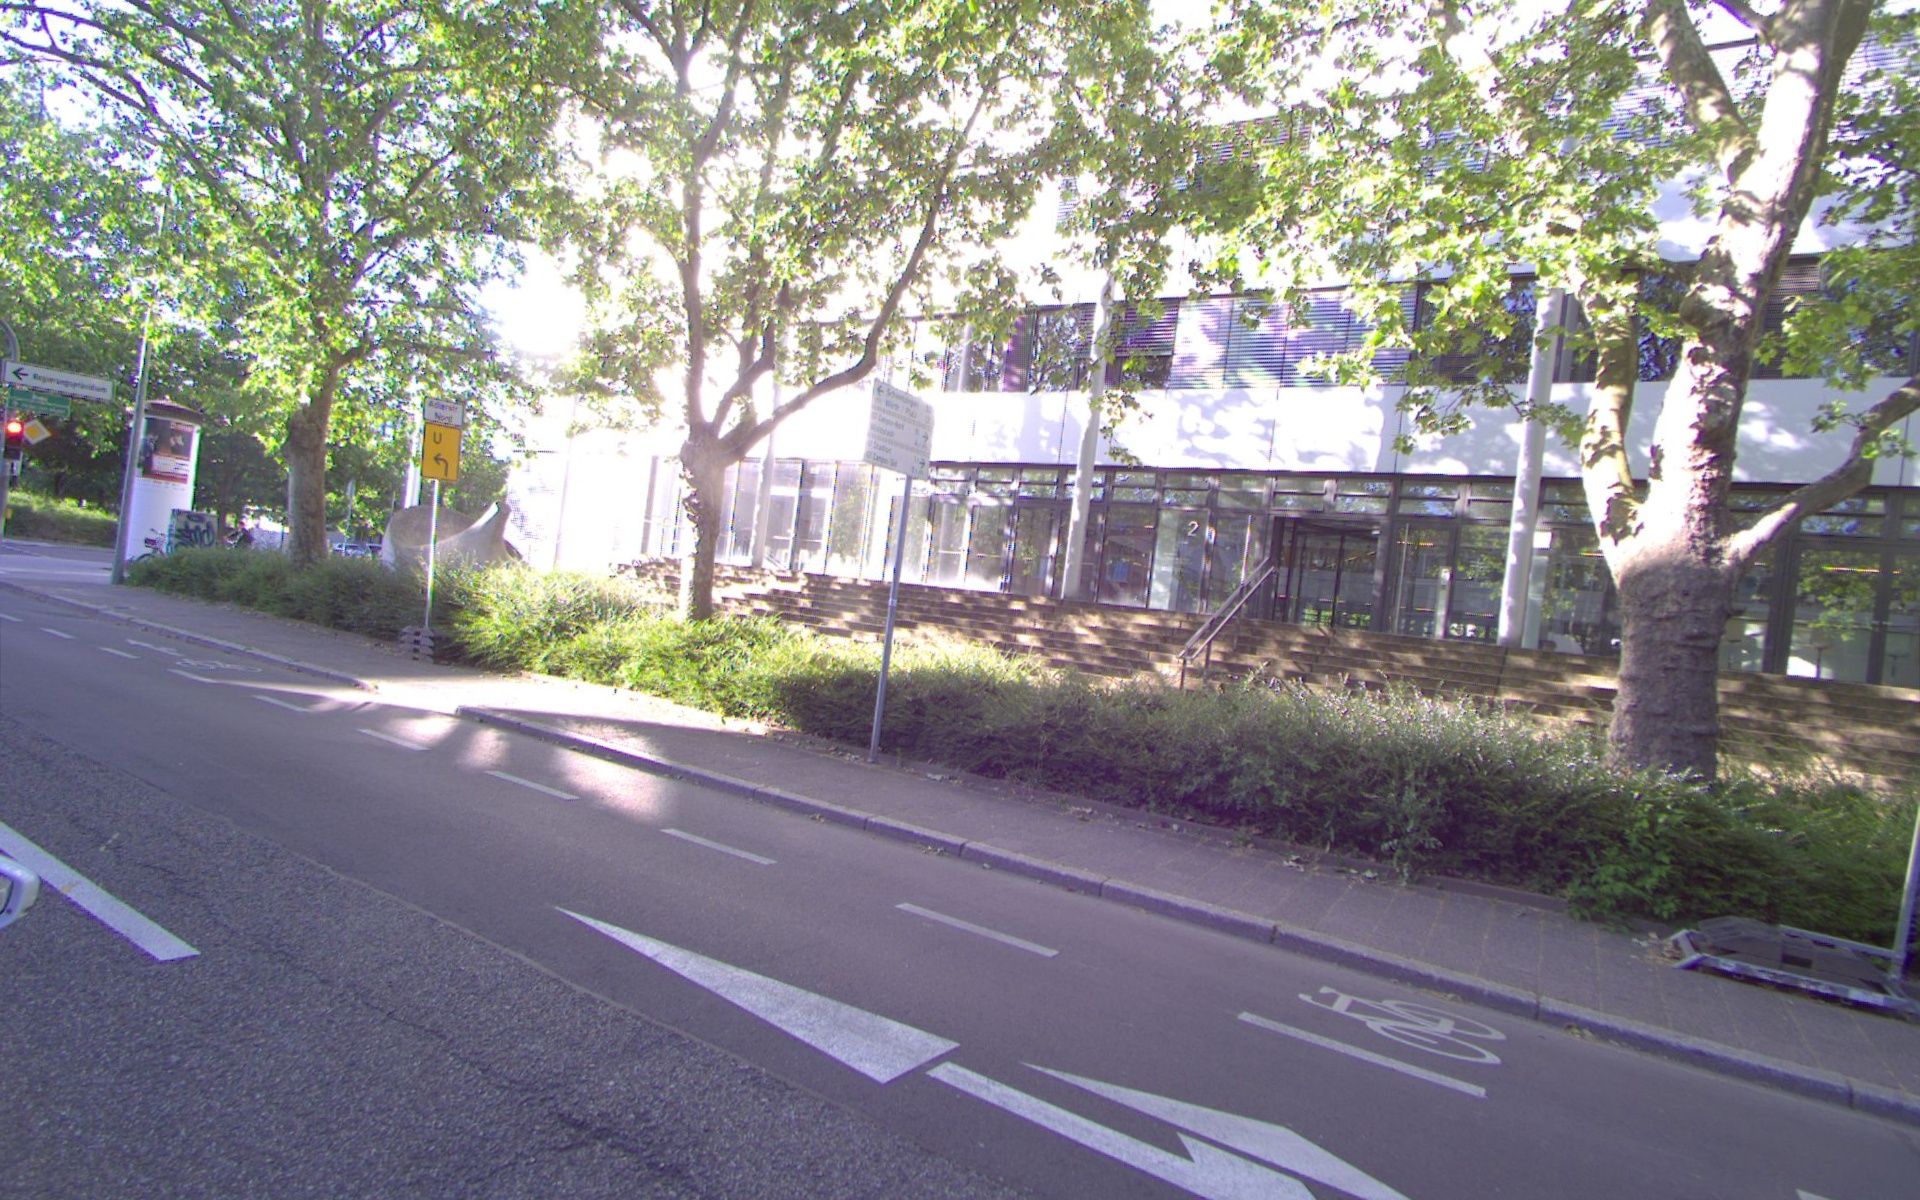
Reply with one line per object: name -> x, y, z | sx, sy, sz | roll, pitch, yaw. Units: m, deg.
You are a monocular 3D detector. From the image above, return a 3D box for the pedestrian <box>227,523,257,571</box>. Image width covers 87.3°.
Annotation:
pedestrian -> -28.905, -2.138, 40.498 | 0.620, 1.805, 0.620 | 7, 0, 34

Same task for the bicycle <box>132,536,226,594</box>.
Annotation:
bicycle -> -16.698, -0.740, 21.544 | 0.529, 1.049, 1.418 | 7, -1, 28

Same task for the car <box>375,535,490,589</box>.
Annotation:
car -> -23.625, -1.682, 45.141 | 1.969, 1.805, 3.998 | 7, -1, 37
